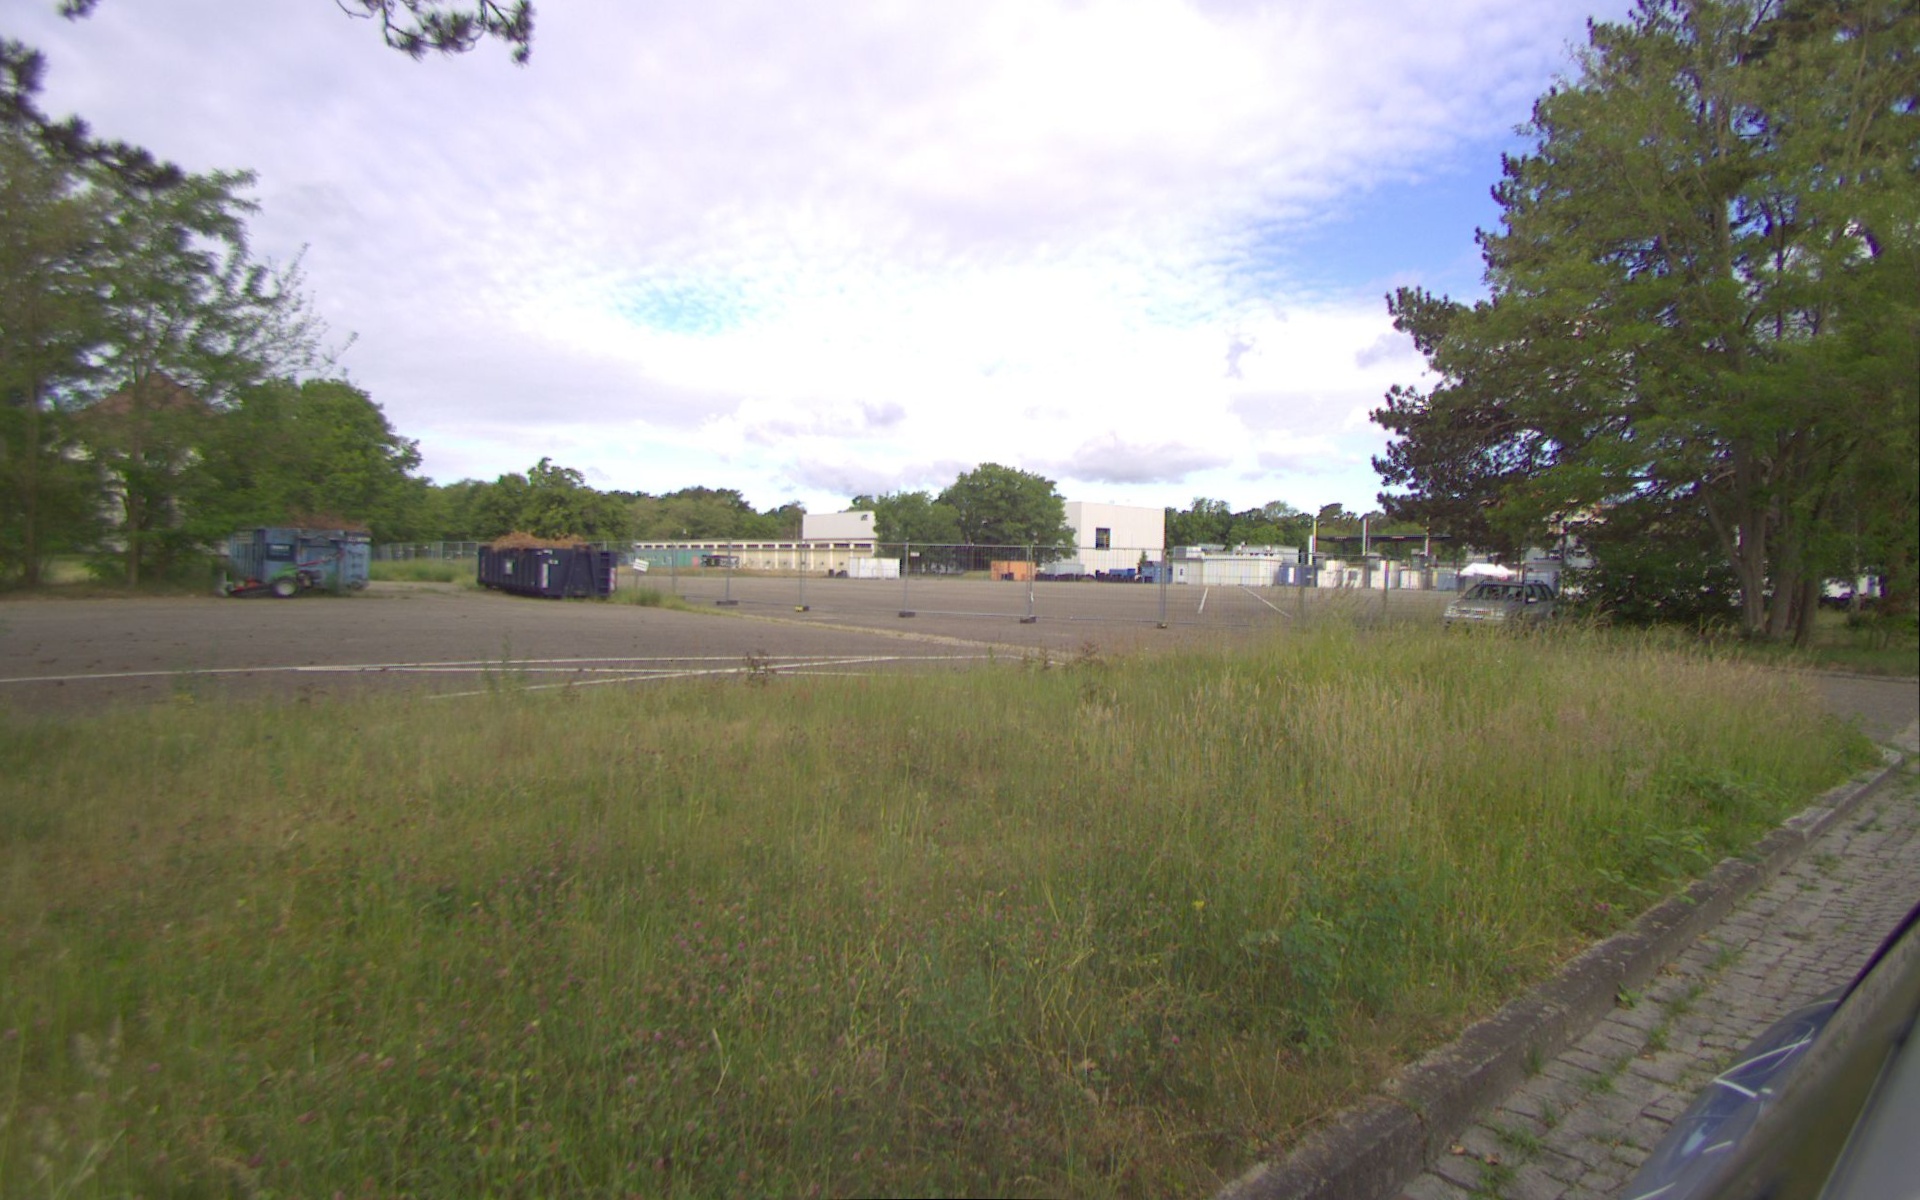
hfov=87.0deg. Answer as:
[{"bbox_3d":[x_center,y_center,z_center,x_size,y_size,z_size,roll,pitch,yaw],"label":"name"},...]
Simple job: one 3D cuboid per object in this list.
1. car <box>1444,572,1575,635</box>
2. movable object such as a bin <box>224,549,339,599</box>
[{"bbox_3d":[14.264,0.039,26.156,4.414,1.468,1.676,-1,2,-43],"label":"car"},{"bbox_3d":[-16.616,-0.627,24.818,0.959,1.148,2.181,0,1,40],"label":"movable object such as a bin"}]
